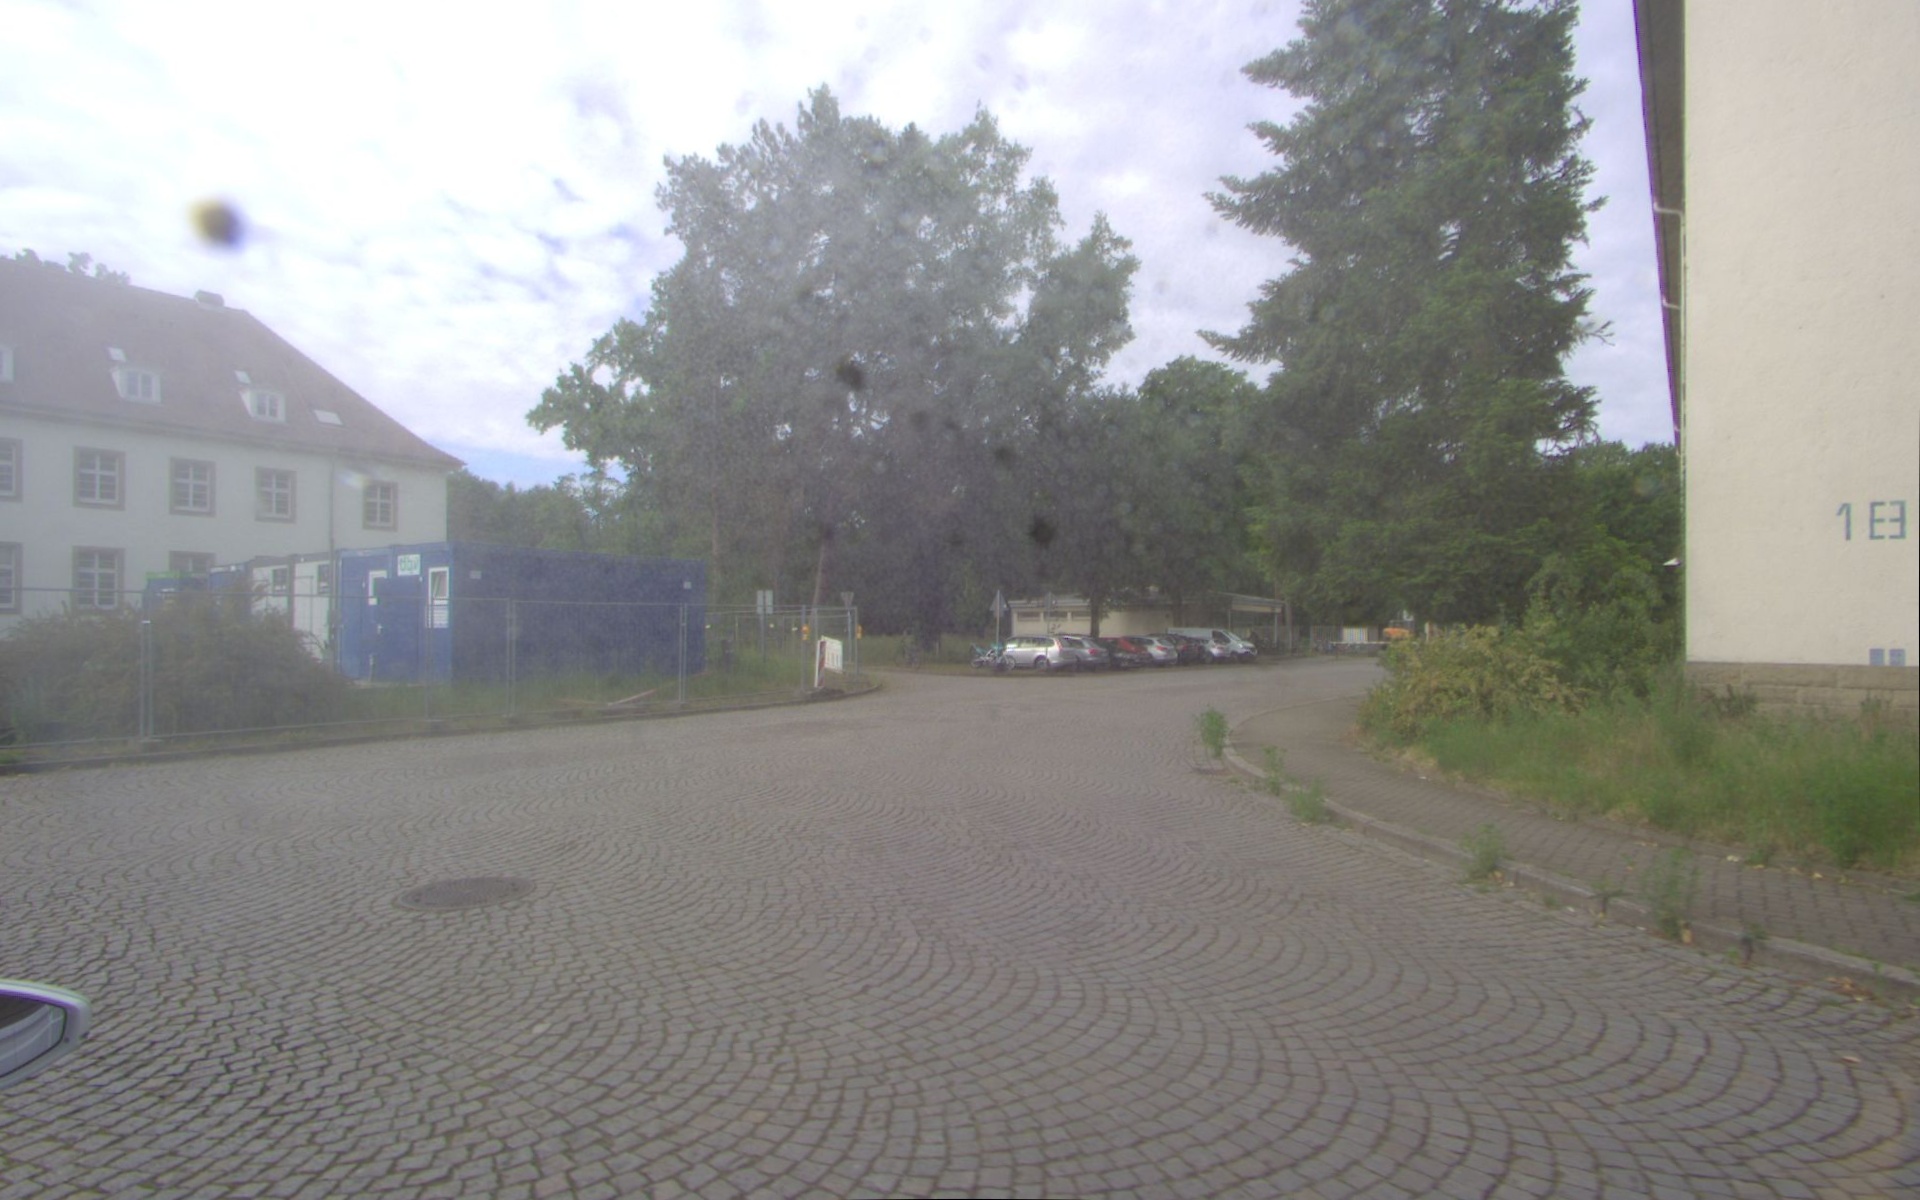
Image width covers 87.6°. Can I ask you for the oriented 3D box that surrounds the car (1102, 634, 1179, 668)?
[{"bbox_3d":[8.807,2.459,48.854,3.314,1.462,1.559,2,-1,29],"label":"car"}]

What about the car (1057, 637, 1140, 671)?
[{"bbox_3d":[6.197,2.379,44.872,3.313,1.338,1.635,2,-1,28],"label":"car"}]

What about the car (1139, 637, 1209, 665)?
[{"bbox_3d":[11.404,2.708,53.474,3.317,1.336,1.467,2,-1,32],"label":"car"}]

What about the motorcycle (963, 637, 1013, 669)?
[{"bbox_3d":[1.097,2.072,39.335,1.936,1.179,0.516,0,-1,31],"label":"motorcycle"}]

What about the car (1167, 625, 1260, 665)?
[{"bbox_3d":[14.559,2.554,57.714,4.892,2.016,1.687,1,-1,37],"label":"car"}]

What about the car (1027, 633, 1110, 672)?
[{"bbox_3d":[4.618,2.207,42.580,3.171,1.466,1.384,2,-1,28],"label":"car"}]

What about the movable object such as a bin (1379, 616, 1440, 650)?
[{"bbox_3d":[45.031,3.319,100.370,5.218,3.314,1.999,0,-1,13],"label":"movable object such as a bin"}]

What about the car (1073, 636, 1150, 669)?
[{"bbox_3d":[7.166,2.454,47.544,3.321,1.379,1.439,1,-1,36],"label":"car"}]

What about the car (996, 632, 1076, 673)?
[{"bbox_3d":[3.096,2.128,40.842,2.978,1.507,1.318,2,-1,28],"label":"car"}]

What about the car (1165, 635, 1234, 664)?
[{"bbox_3d":[13.230,2.725,55.344,3.317,1.425,1.558,2,-1,32],"label":"car"}]

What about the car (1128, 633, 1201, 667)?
[{"bbox_3d":[10.503,2.553,51.382,3.317,1.533,1.558,2,-1,32],"label":"car"}]

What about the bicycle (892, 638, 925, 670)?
[{"bbox_3d":[-1.963,2.048,38.138,0.507,1.182,1.795,1,-2,-30],"label":"bicycle"}]
